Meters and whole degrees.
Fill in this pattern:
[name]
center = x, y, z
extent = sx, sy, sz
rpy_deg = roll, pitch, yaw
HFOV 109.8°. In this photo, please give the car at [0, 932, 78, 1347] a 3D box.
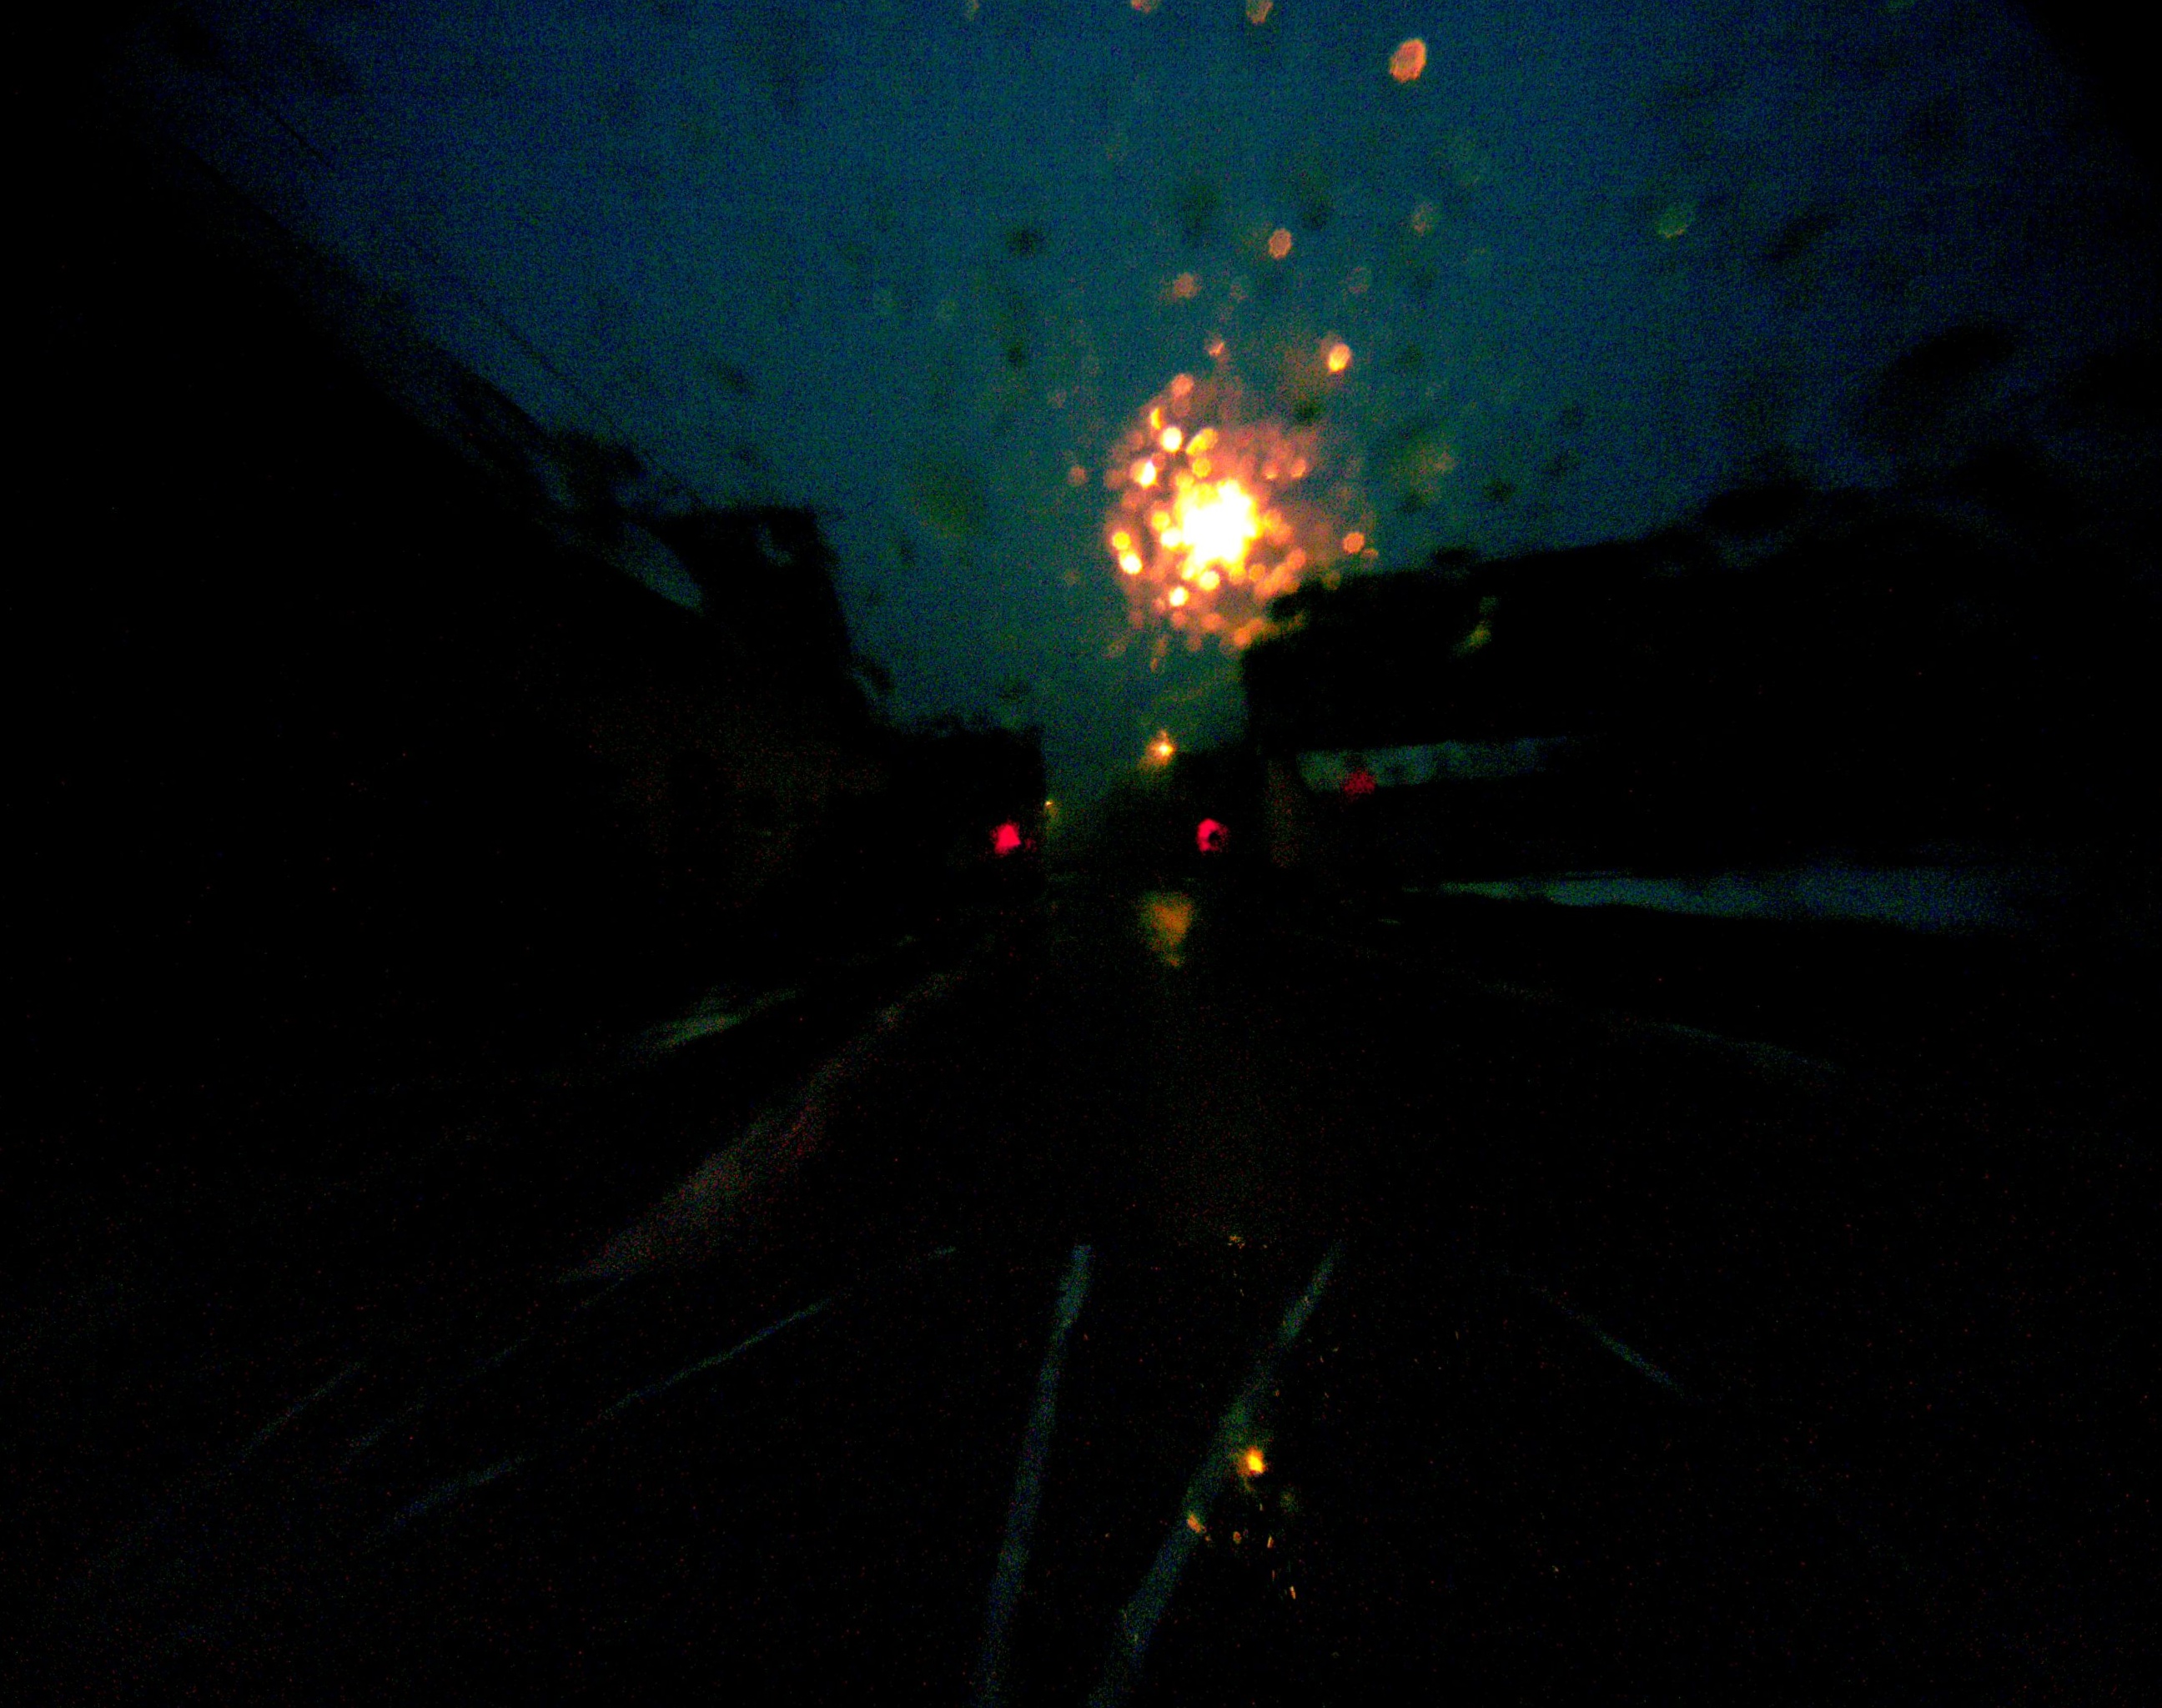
[car]
center = -5.780, 1.116, 1.932
extent = 3.752, 1.488, 1.821
rpy_deg = -2, 0, -5
